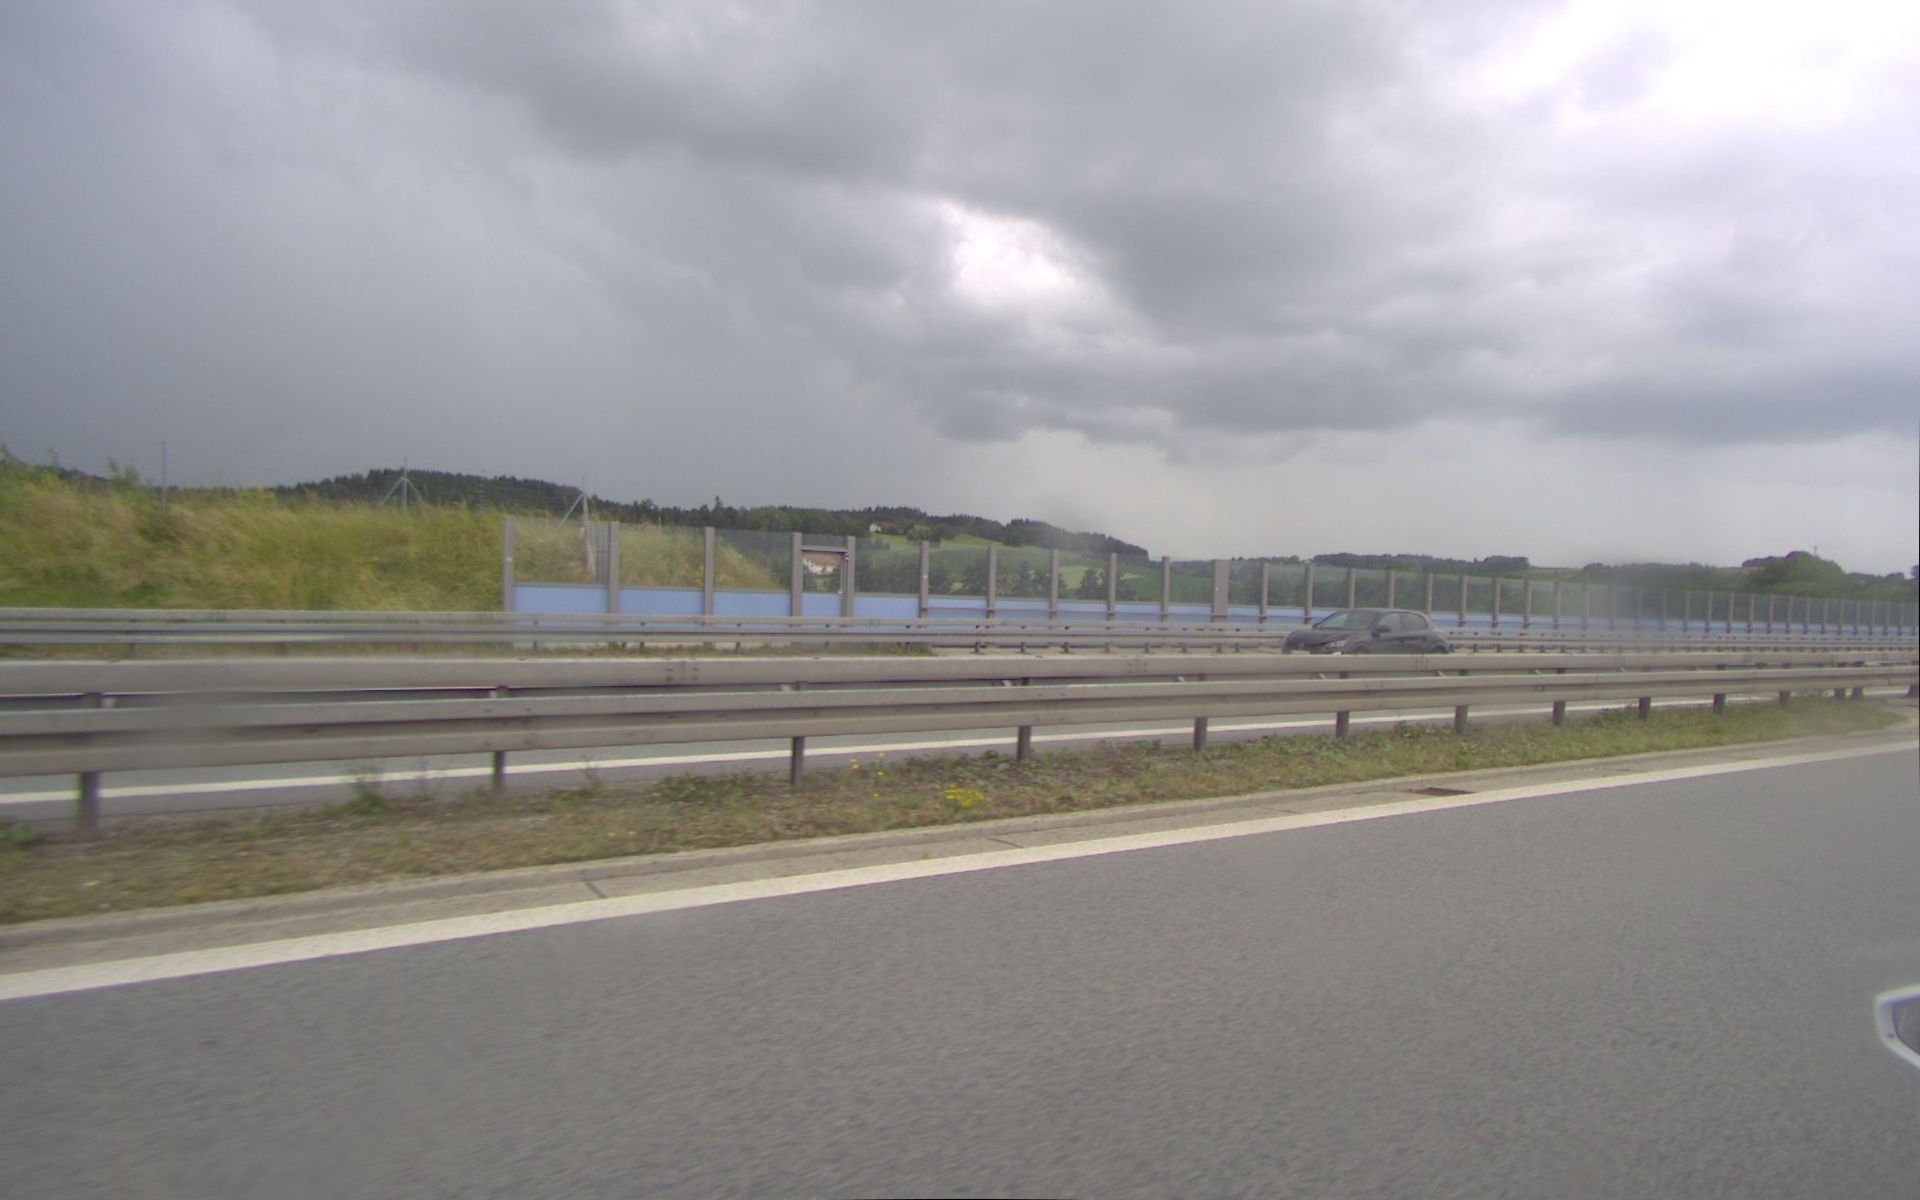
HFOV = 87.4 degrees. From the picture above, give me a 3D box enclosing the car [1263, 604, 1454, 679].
[{"bbox_3d":[8.419,0.845,21.142,3.953,1.428,1.623,1,0,-30],"label":"car"}]
